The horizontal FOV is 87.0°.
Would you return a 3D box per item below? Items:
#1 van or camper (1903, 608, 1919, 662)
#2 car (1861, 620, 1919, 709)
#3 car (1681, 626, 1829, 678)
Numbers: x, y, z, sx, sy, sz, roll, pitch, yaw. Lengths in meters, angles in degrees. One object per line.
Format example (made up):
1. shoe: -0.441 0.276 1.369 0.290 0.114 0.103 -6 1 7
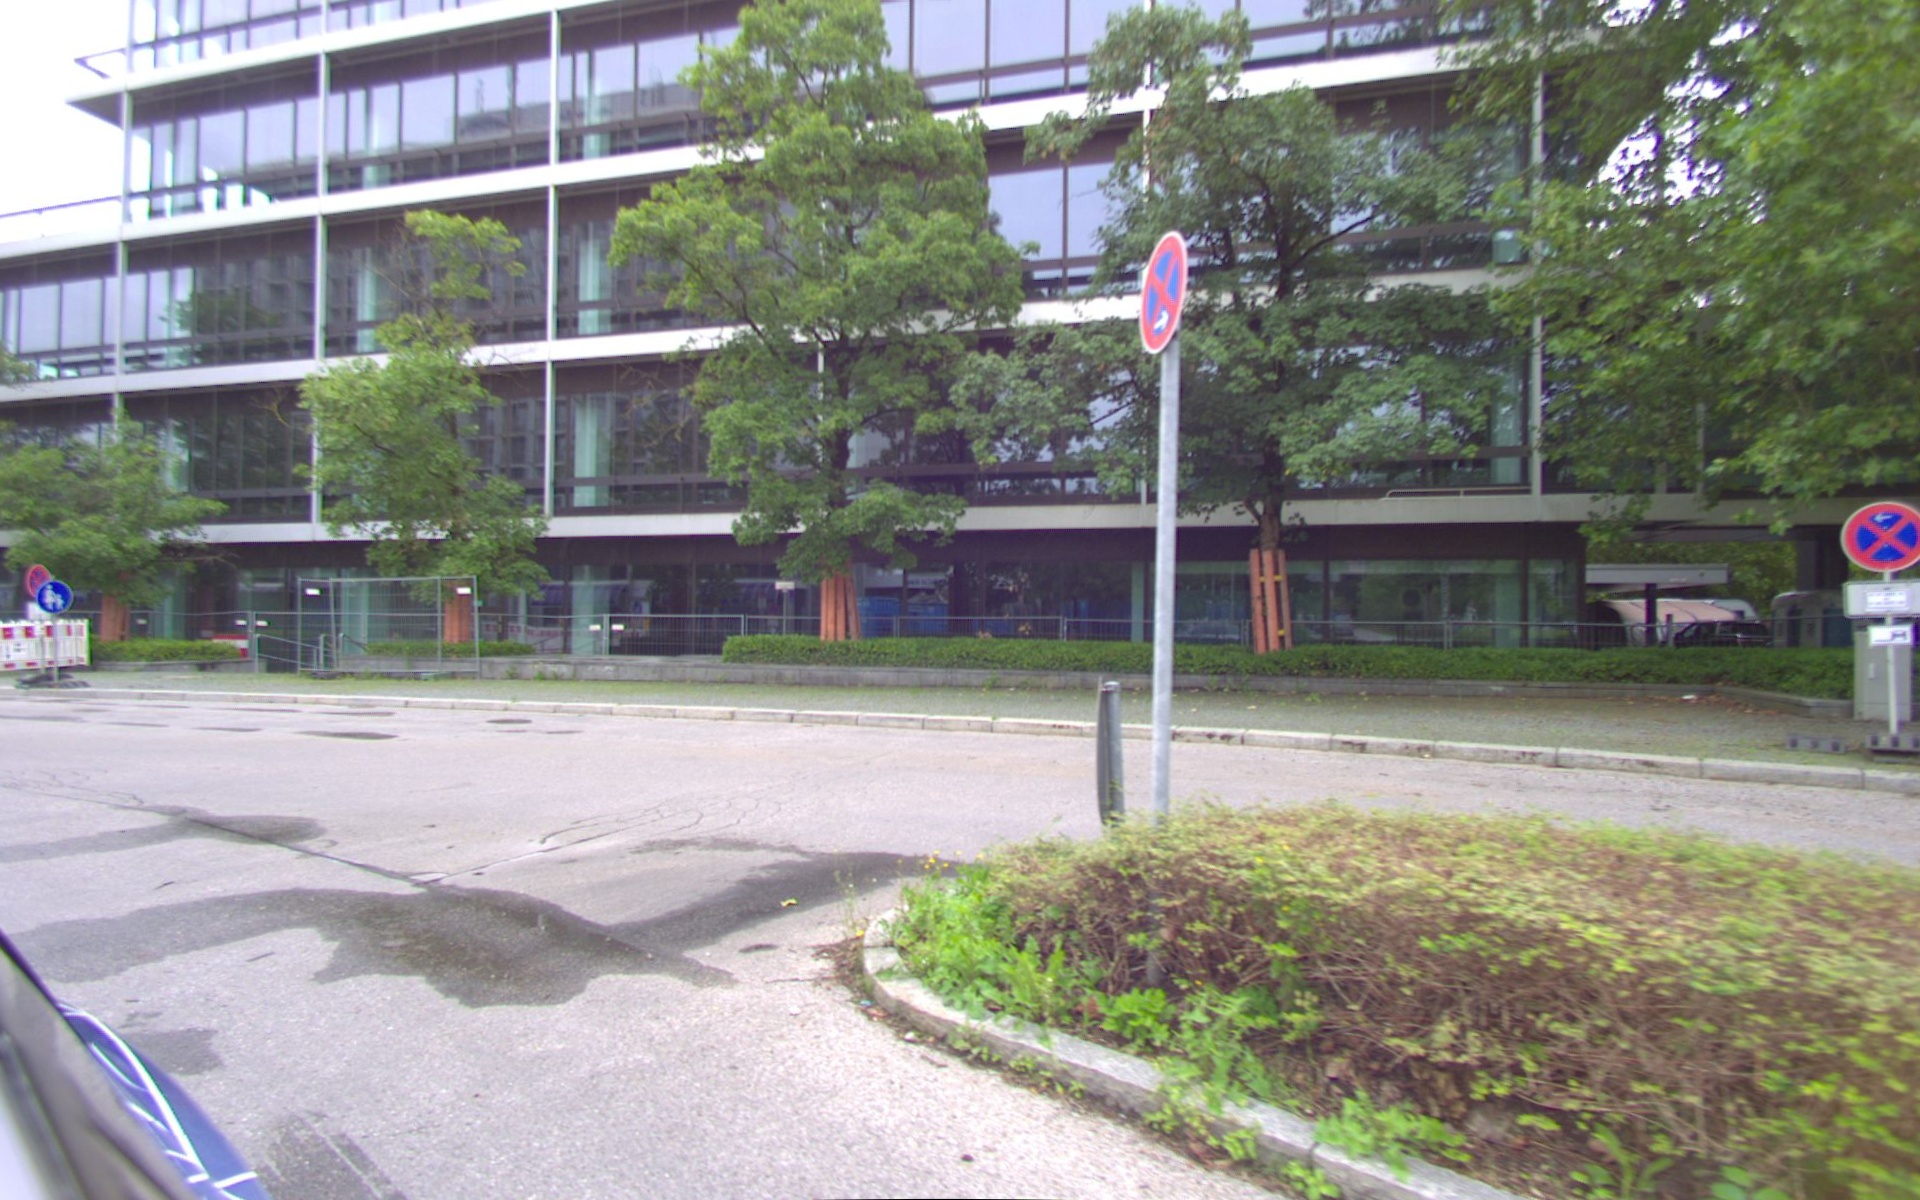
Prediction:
1. van or camper: 47.388 1.656 47.575 2.254 2.615 4.635 0 -2 11
2. car: 17.990 1.082 16.943 3.828 1.485 1.902 0 -2 18
3. car: 24.042 1.526 30.810 1.892 1.485 3.848 0 -2 10
